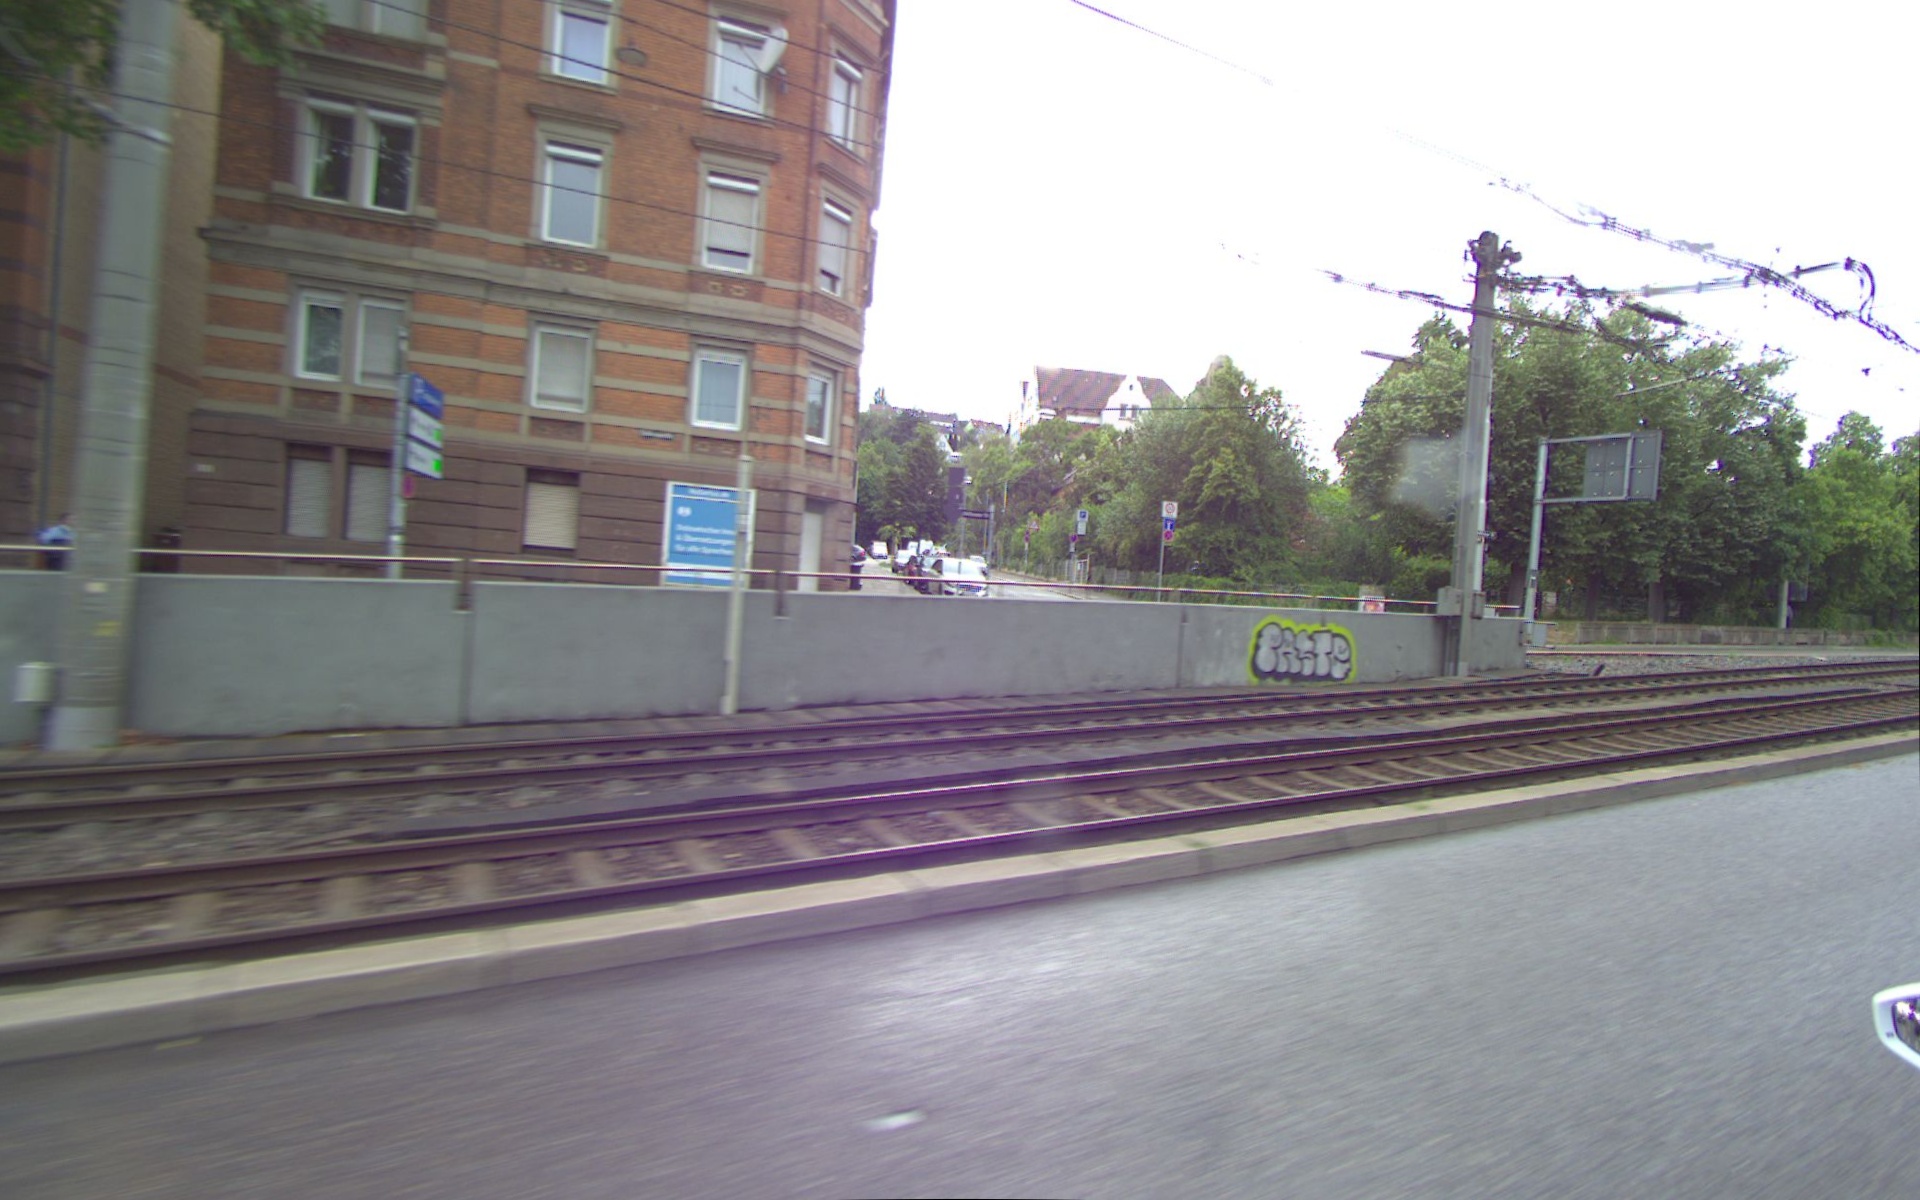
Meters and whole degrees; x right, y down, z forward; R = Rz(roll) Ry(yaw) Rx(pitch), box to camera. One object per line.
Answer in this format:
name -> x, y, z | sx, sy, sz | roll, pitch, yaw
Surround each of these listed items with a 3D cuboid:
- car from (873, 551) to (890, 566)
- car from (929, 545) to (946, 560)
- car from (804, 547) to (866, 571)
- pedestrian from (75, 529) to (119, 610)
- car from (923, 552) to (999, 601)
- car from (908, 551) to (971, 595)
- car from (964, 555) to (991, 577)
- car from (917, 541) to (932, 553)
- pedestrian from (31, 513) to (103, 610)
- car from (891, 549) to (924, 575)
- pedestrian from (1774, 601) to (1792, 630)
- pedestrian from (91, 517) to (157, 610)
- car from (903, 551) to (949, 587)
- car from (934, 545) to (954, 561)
car -> -9.464, -5.044, 120.963 | 1.656, 1.522, 3.807 | 5, 3, -10
car -> -2.594, -5.436, 115.349 | 1.766, 1.530, 3.996 | 3, 3, -4
car -> -9.250, -3.024, 74.507 | 4.417, 1.530, 1.797 | 3, 2, -8
pedestrian -> -14.682, -0.511, 17.096 | 0.497, 1.352, 0.333 | 0, 0, -26
car -> -0.025, -0.916, 37.528 | 1.873, 1.522, 4.348 | 5, 2, -12
car -> -0.936, -1.187, 42.630 | 1.873, 1.522, 3.946 | 5, 3, -12
car -> 1.388, -2.791, 81.532 | 1.654, 1.522, 3.810 | 6, 3, -6
car -> -4.964, -7.352, 139.865 | 1.767, 1.530, 3.995 | 3, 3, -6
pedestrian -> -15.432, -0.652, 17.367 | 0.710, 1.646, 0.594 | 0, 0, -11
car -> -3.493, -2.542, 66.437 | 1.656, 1.522, 3.807 | 5, 3, -10
pedestrian -> 48.345, 0.909, 58.990 | 0.642, 1.683, 0.645 | 1, 0, -31
pedestrian -> -15.123, -0.641, 18.183 | 0.710, 1.646, 0.594 | 0, 0, -11
car -> -1.763, -1.583, 50.773 | 1.718, 1.522, 3.807 | 5, 3, -10
car -> -1.748, -5.052, 107.808 | 1.766, 1.530, 3.996 | 3, 3, -4
